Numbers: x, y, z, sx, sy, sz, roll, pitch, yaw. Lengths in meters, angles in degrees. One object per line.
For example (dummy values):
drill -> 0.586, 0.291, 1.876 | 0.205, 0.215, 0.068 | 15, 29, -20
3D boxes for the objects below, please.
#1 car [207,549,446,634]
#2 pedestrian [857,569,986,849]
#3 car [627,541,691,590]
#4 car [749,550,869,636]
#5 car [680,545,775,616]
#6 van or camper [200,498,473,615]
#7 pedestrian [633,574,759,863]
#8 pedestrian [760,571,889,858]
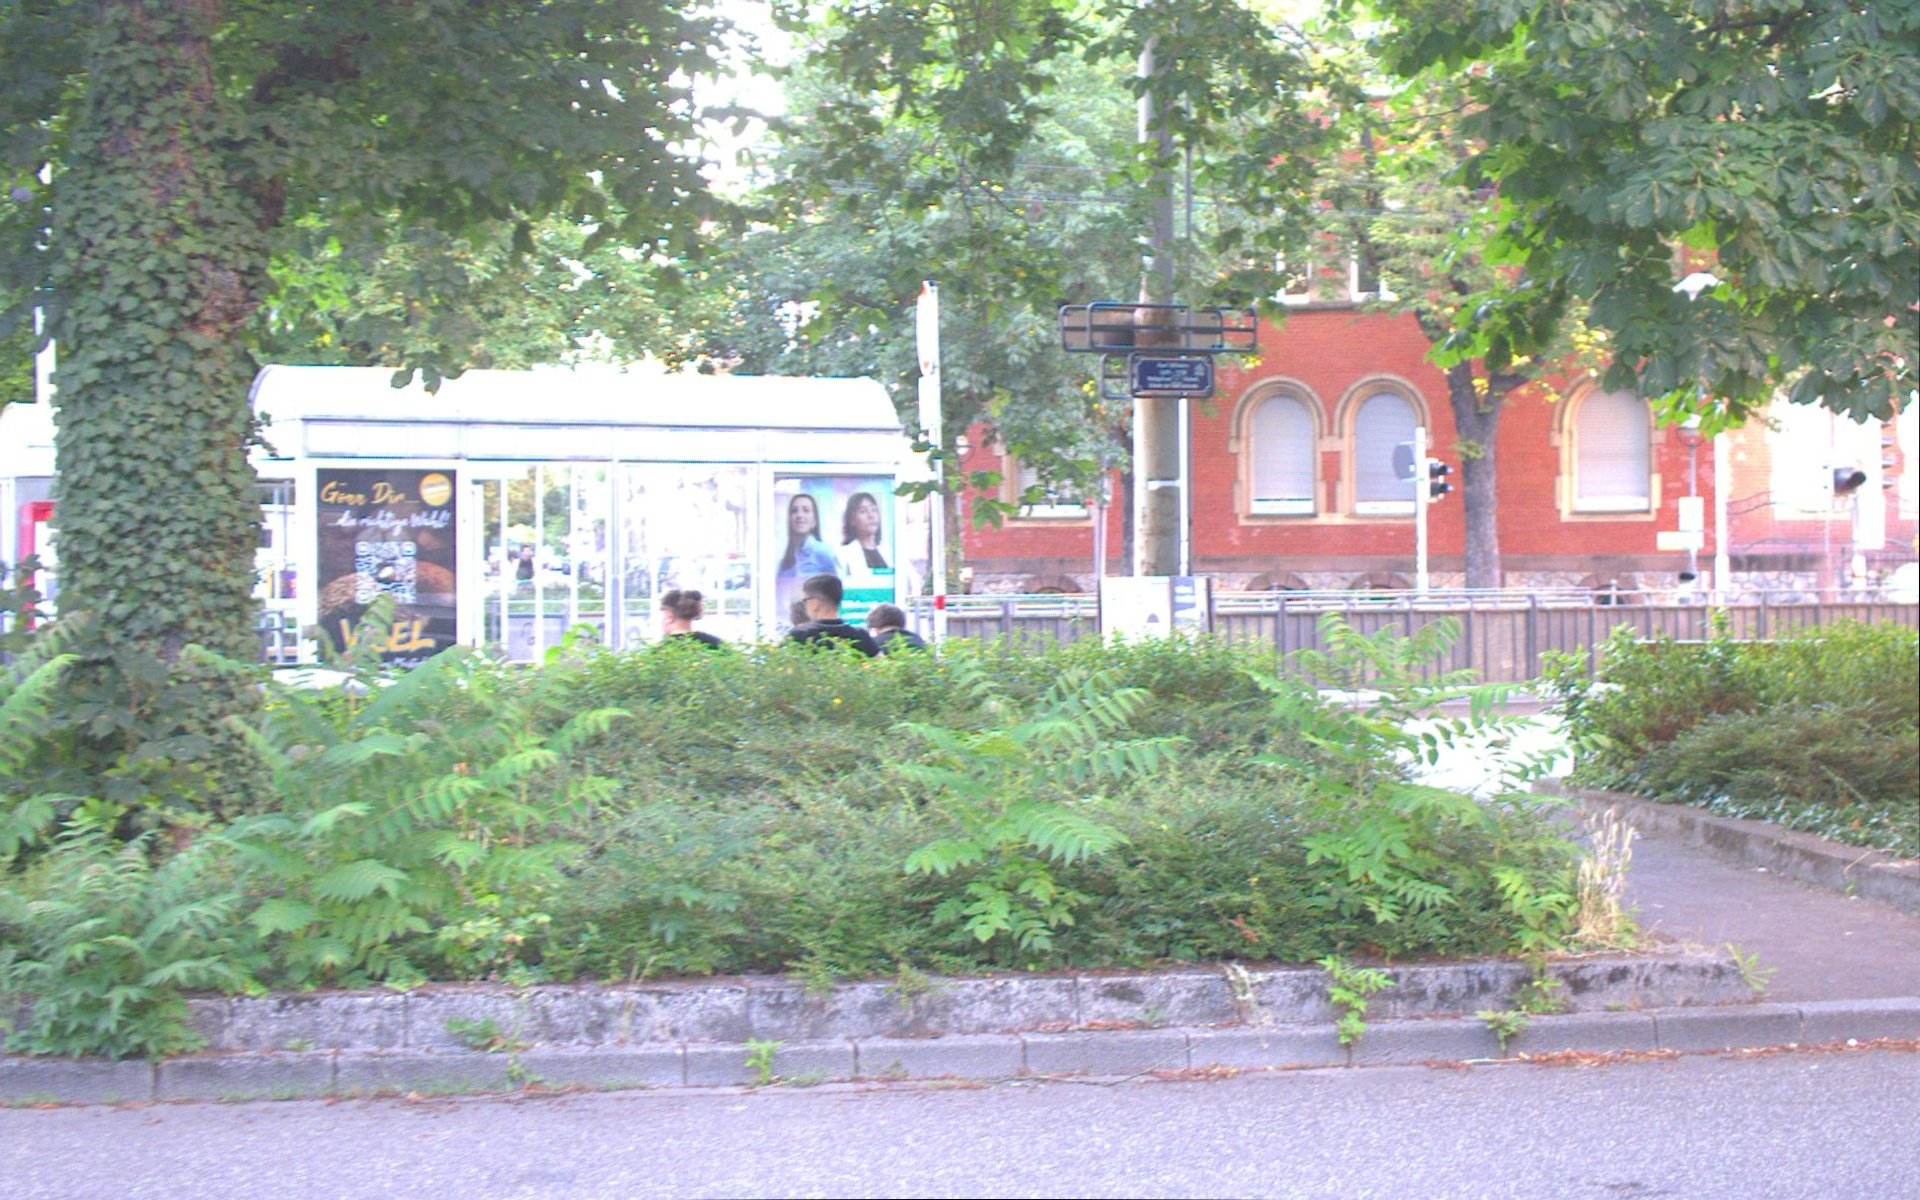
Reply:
car -> -13.603, -0.190, 73.816 | 4.949, 1.698, 2.001 | 1, 0, -11
pedestrian -> -0.207, 0.558, 18.028 | 0.616, 1.426, 0.655 | 0, 1, -6
car -> -10.734, -1.229, 122.432 | 1.993, 1.698, 4.721 | 1, 1, -8
car -> -3.160, -0.166, 71.049 | 1.993, 1.698, 4.721 | 1, 1, -8
car -> -5.925, -0.508, 87.166 | 1.993, 1.698, 4.721 | 1, 1, -8
van or camper -> -17.443, -1.201, 96.224 | 7.363, 3.072, 2.674 | 1, 0, -11
pedestrian -> -1.349, 0.589, 17.496 | 0.616, 1.426, 0.655 | 0, 1, -6
pedestrian -> -0.699, 0.571, 17.555 | 0.616, 1.426, 0.655 | 0, 1, -6
